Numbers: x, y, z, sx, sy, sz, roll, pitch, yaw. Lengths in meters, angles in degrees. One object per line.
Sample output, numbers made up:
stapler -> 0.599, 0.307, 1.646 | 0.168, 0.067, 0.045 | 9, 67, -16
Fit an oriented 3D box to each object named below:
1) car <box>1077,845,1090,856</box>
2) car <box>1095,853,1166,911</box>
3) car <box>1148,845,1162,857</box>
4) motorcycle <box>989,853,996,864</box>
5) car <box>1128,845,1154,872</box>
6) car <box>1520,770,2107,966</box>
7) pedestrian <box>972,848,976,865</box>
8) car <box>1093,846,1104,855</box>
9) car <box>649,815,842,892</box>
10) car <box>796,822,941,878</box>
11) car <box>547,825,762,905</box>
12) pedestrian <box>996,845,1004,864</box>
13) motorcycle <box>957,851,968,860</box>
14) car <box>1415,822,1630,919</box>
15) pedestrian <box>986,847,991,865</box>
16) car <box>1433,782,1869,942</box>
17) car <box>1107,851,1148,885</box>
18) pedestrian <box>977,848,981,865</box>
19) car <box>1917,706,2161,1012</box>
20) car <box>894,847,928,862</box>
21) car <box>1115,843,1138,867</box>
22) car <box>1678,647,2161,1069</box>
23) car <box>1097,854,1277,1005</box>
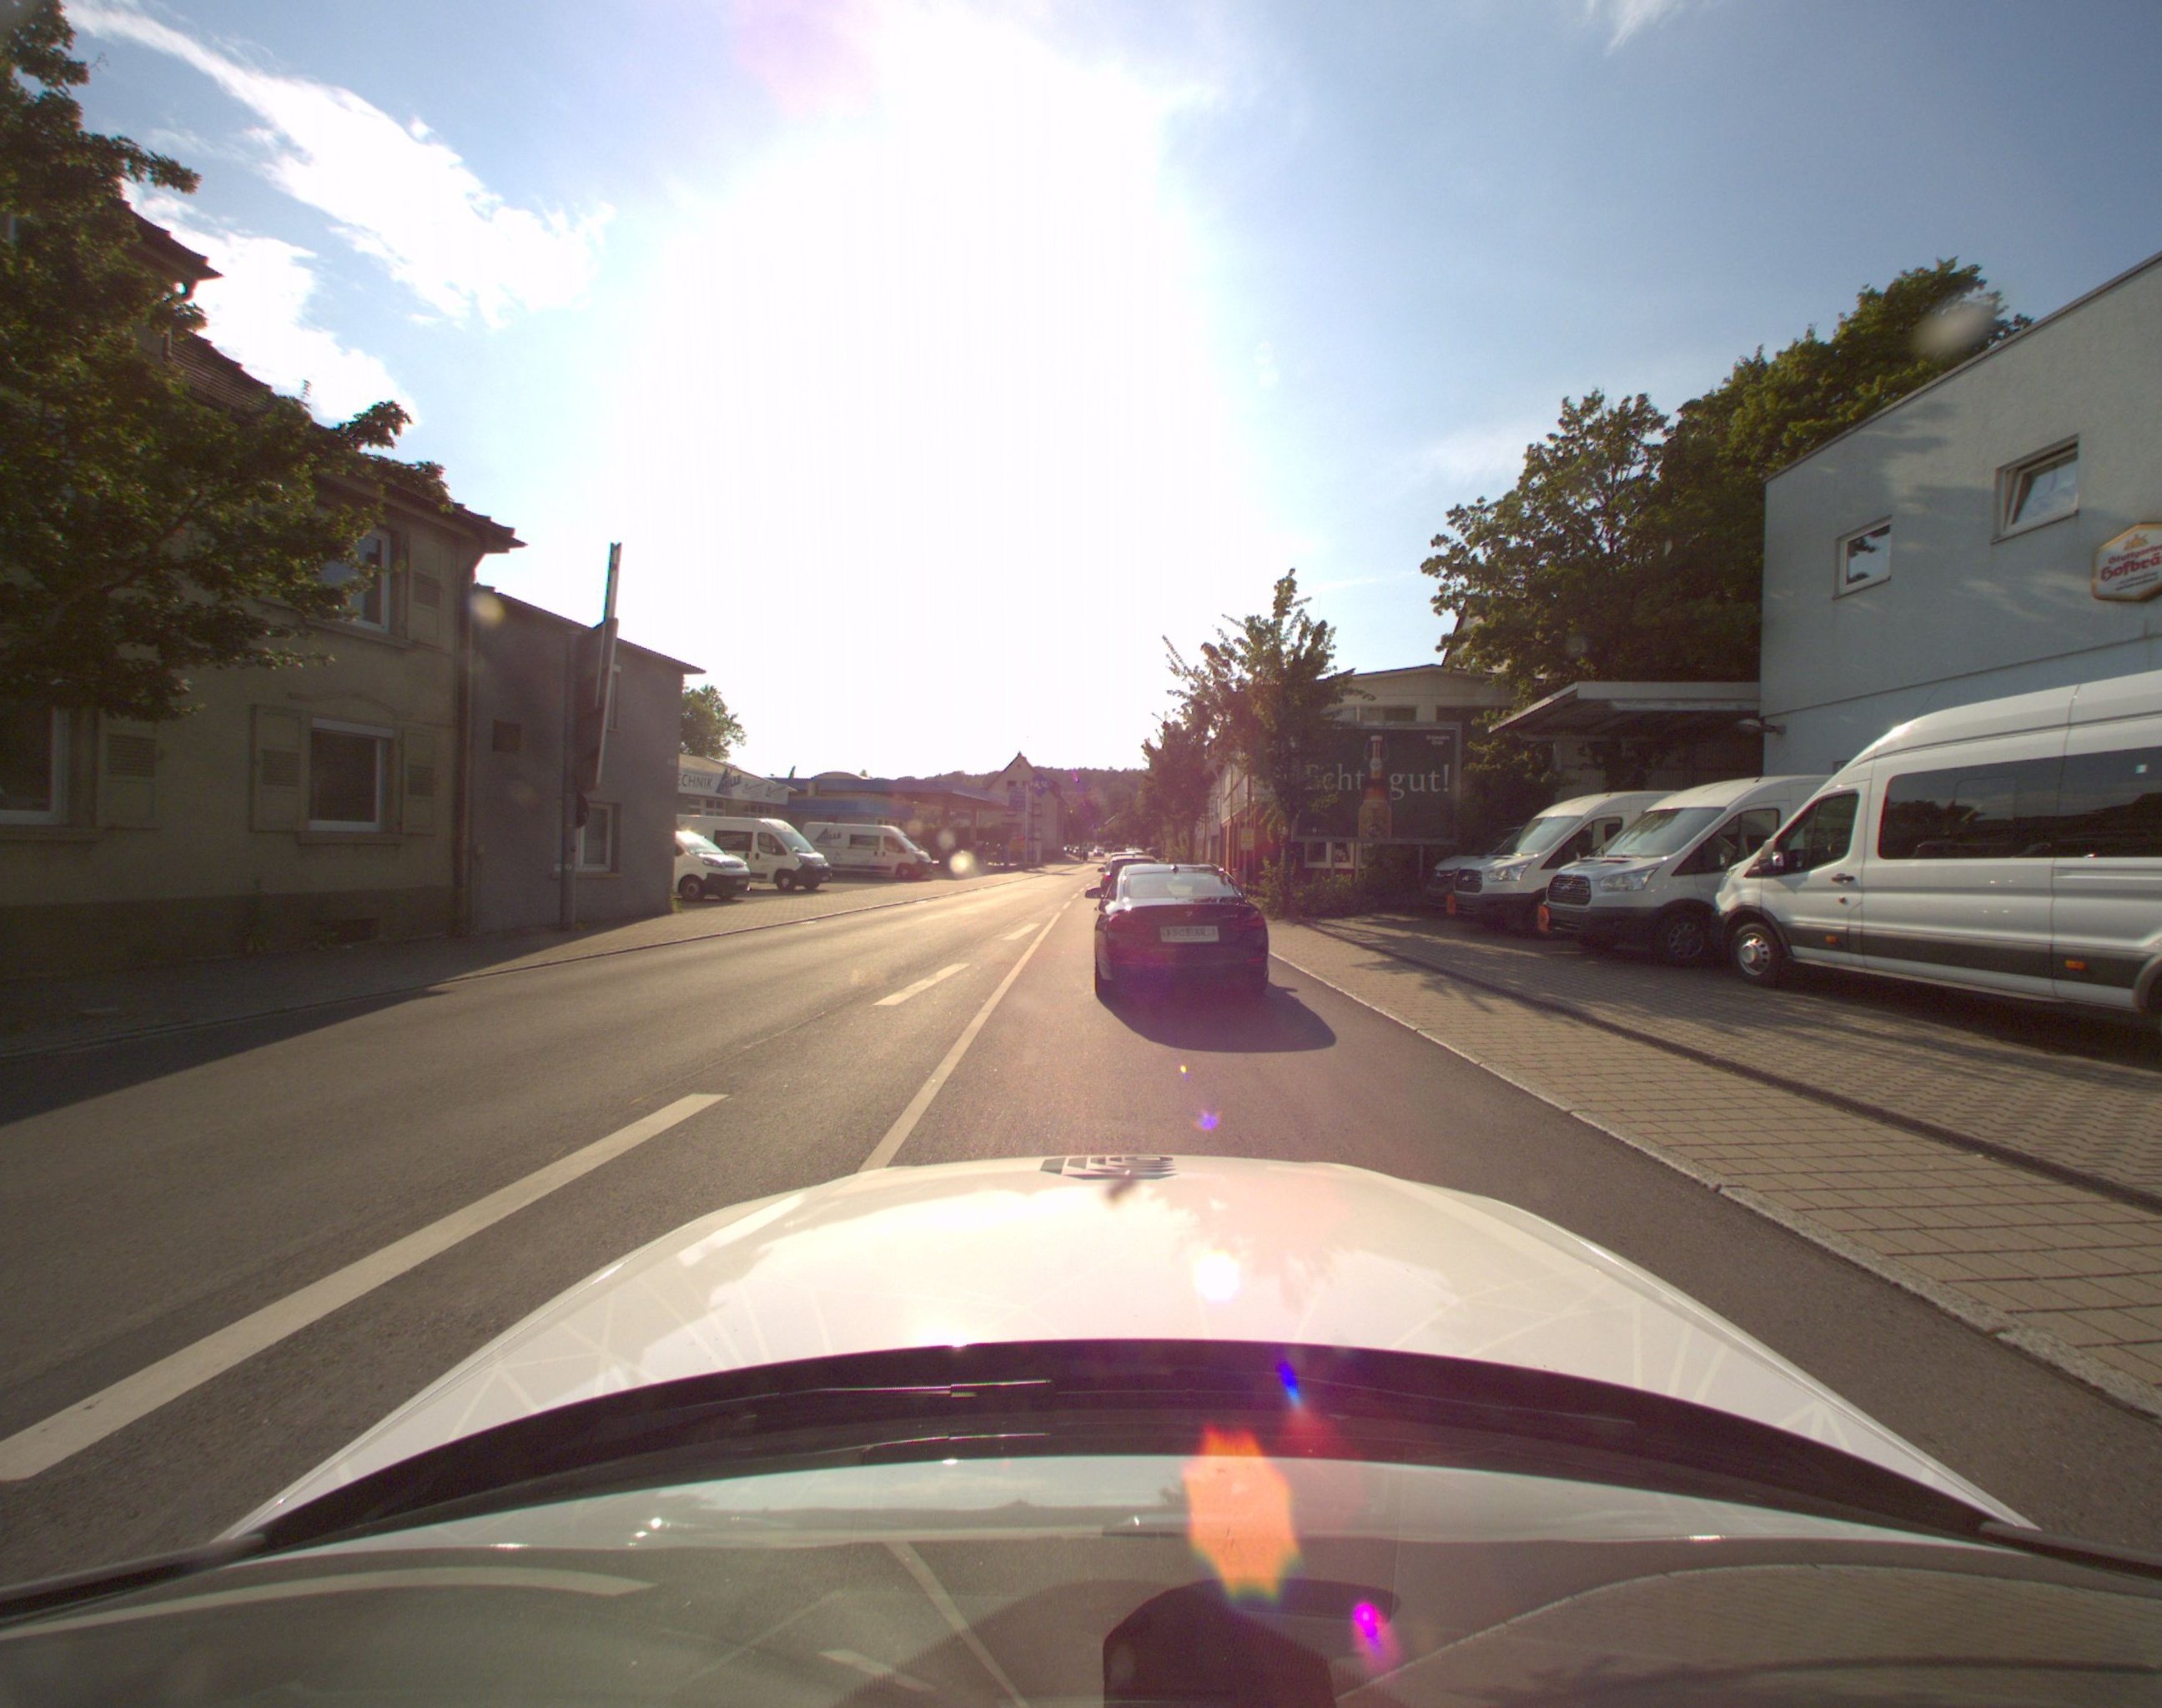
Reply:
car -> 0.375, -0.517, 115.896 | 1.590, 1.485, 3.477 | 1, 1, 2
car -> 1.420, 0.696, 22.281 | 1.762, 1.456, 3.522 | 0, 0, 6
car -> 9.381, -0.350, 103.140 | 1.590, 1.485, 3.477 | 1, 1, 2
motorcycle -> -7.447, 0.364, 68.820 | 0.362, 0.943, 1.696 | 0, 1, 2
car -> 3.731, 0.270, 50.525 | 1.584, 1.600, 3.898 | 0, 1, 5
car -> 9.437, 0.154, 10.913 | 6.023, 2.363, 2.044 | 0, 1, 0
pedestrian -> -8.928, 0.219, 68.142 | 0.286, 1.366, 0.263 | 0, 0, -1
car -> 2.694, -0.554, 126.144 | 1.590, 1.485, 3.477 | 1, 1, 2
car -> -11.680, -0.046, 28.560 | 5.888, 2.480, 2.198 | 1, 1, 7
car -> -9.932, -0.202, 38.341 | 6.132, 2.444, 2.251 | 1, 1, 3
car -> -11.714, 0.270, 22.568 | 4.951, 1.999, 1.938 | 1, 0, 5
pedestrian -> -6.893, 0.036, 69.114 | 0.608, 1.670, 0.442 | 0, 0, 0
motorcycle -> -10.121, 0.127, 69.383 | 0.456, 0.730, 1.478 | 0, 1, 10
car -> 9.014, 0.320, 16.816 | 3.588, 1.894, 1.586 | 0, 1, 0
pedestrian -> -7.862, 0.193, 69.285 | 0.406, 1.547, 0.433 | 0, 0, 0
car -> 9.438, 0.115, 13.882 | 6.023, 2.516, 2.044 | 0, 1, 0
car -> 2.111, 0.587, 36.545 | 1.746, 1.414, 3.426 | 0, 1, 4
pedestrian -> -8.634, 0.192, 68.747 | 0.260, 1.383, 0.289 | 0, 0, 9
car -> 10.611, 0.060, 6.163 | 2.103, 2.721, 6.446 | 0, 1, 2
car -> -16.166, 0.018, 77.552 | 3.155, 1.427, 1.433 | 0, 1, -14
car -> 3.467, 0.032, 62.011 | 1.595, 1.767, 3.416 | 0, 1, 5
car -> 7.969, 0.016, 6.230 | 2.141, 2.680, 6.606 | 0, 1, 2
car -> 1.058, 0.725, 9.905 | 1.694, 1.369, 4.263 | 0, 1, 1
